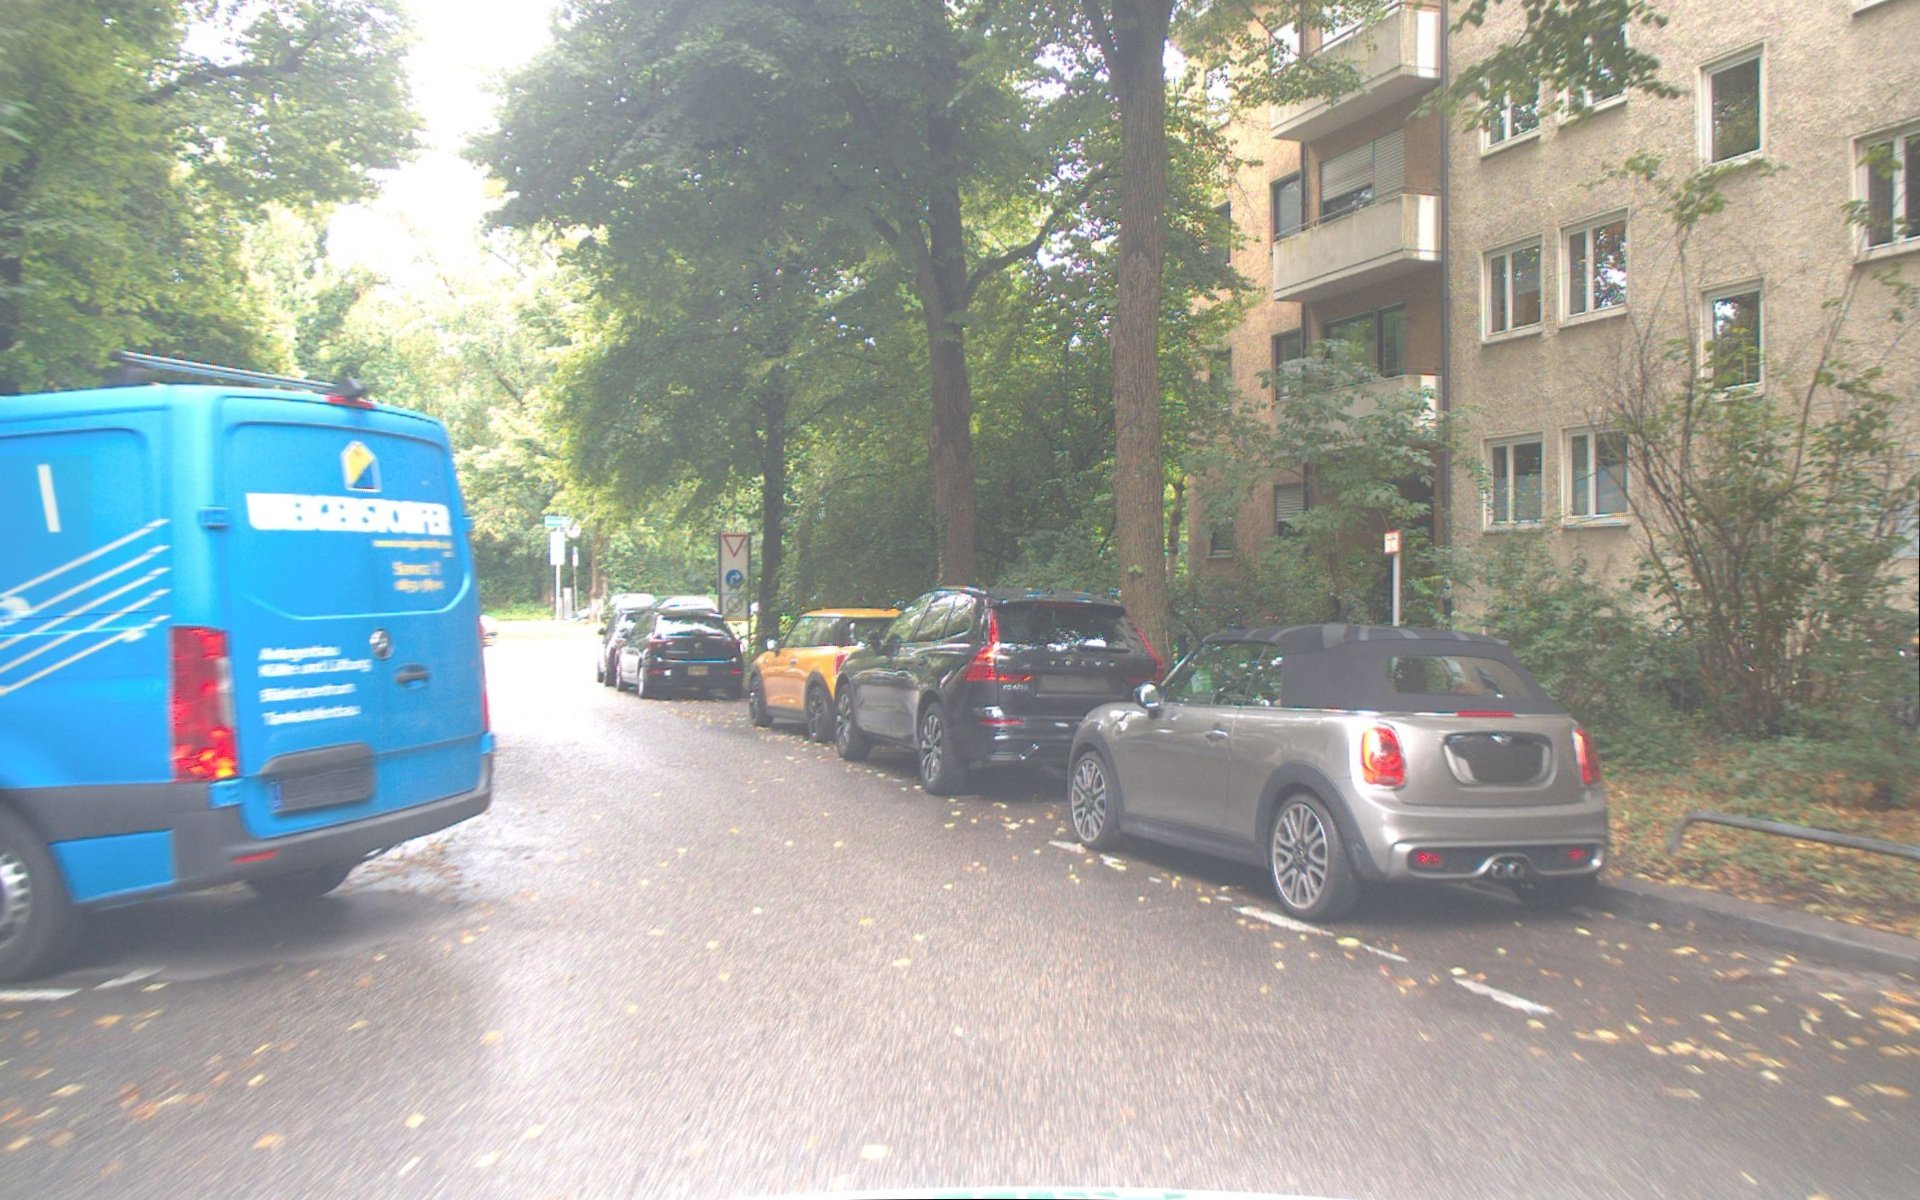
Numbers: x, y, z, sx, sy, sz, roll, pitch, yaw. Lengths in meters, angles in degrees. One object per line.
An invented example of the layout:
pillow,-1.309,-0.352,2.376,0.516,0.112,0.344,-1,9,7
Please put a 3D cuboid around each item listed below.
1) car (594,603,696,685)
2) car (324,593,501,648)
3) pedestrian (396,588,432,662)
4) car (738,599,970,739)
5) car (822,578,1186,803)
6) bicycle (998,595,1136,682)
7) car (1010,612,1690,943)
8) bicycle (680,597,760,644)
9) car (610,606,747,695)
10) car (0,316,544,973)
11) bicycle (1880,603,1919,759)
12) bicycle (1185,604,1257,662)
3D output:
car,-6.250,0.818,32.547,1.621,1.500,3.626,0,0,-17
car,-15.747,0.570,47.798,4.721,1.522,1.835,0,0,-15
pedestrian,-12.591,0.566,38.151,0.767,1.645,0.757,0,2,-17
car,-1.345,0.723,19.410,1.596,1.437,3.753,0,0,-23
car,0.186,0.651,14.651,1.804,1.657,4.501,0,0,-19
bicycle,1.432,0.492,22.036,1.808,1.102,0.542,-1,0,-28
car,1.984,0.823,9.928,1.871,1.438,4.403,-2,0,-20
bicycle,-5.291,0.438,36.414,1.720,0.999,0.272,-1,0,-11
car,-4.921,0.816,28.528,1.657,1.382,3.985,0,0,-20
car,-4.921,0.280,7.769,5.362,2.395,2.067,-3,-1,16
bicycle,7.581,0.604,13.020,0.436,1.143,1.765,0,0,34
bicycle,5.030,0.618,31.960,0.546,1.062,1.825,-1,0,-21
